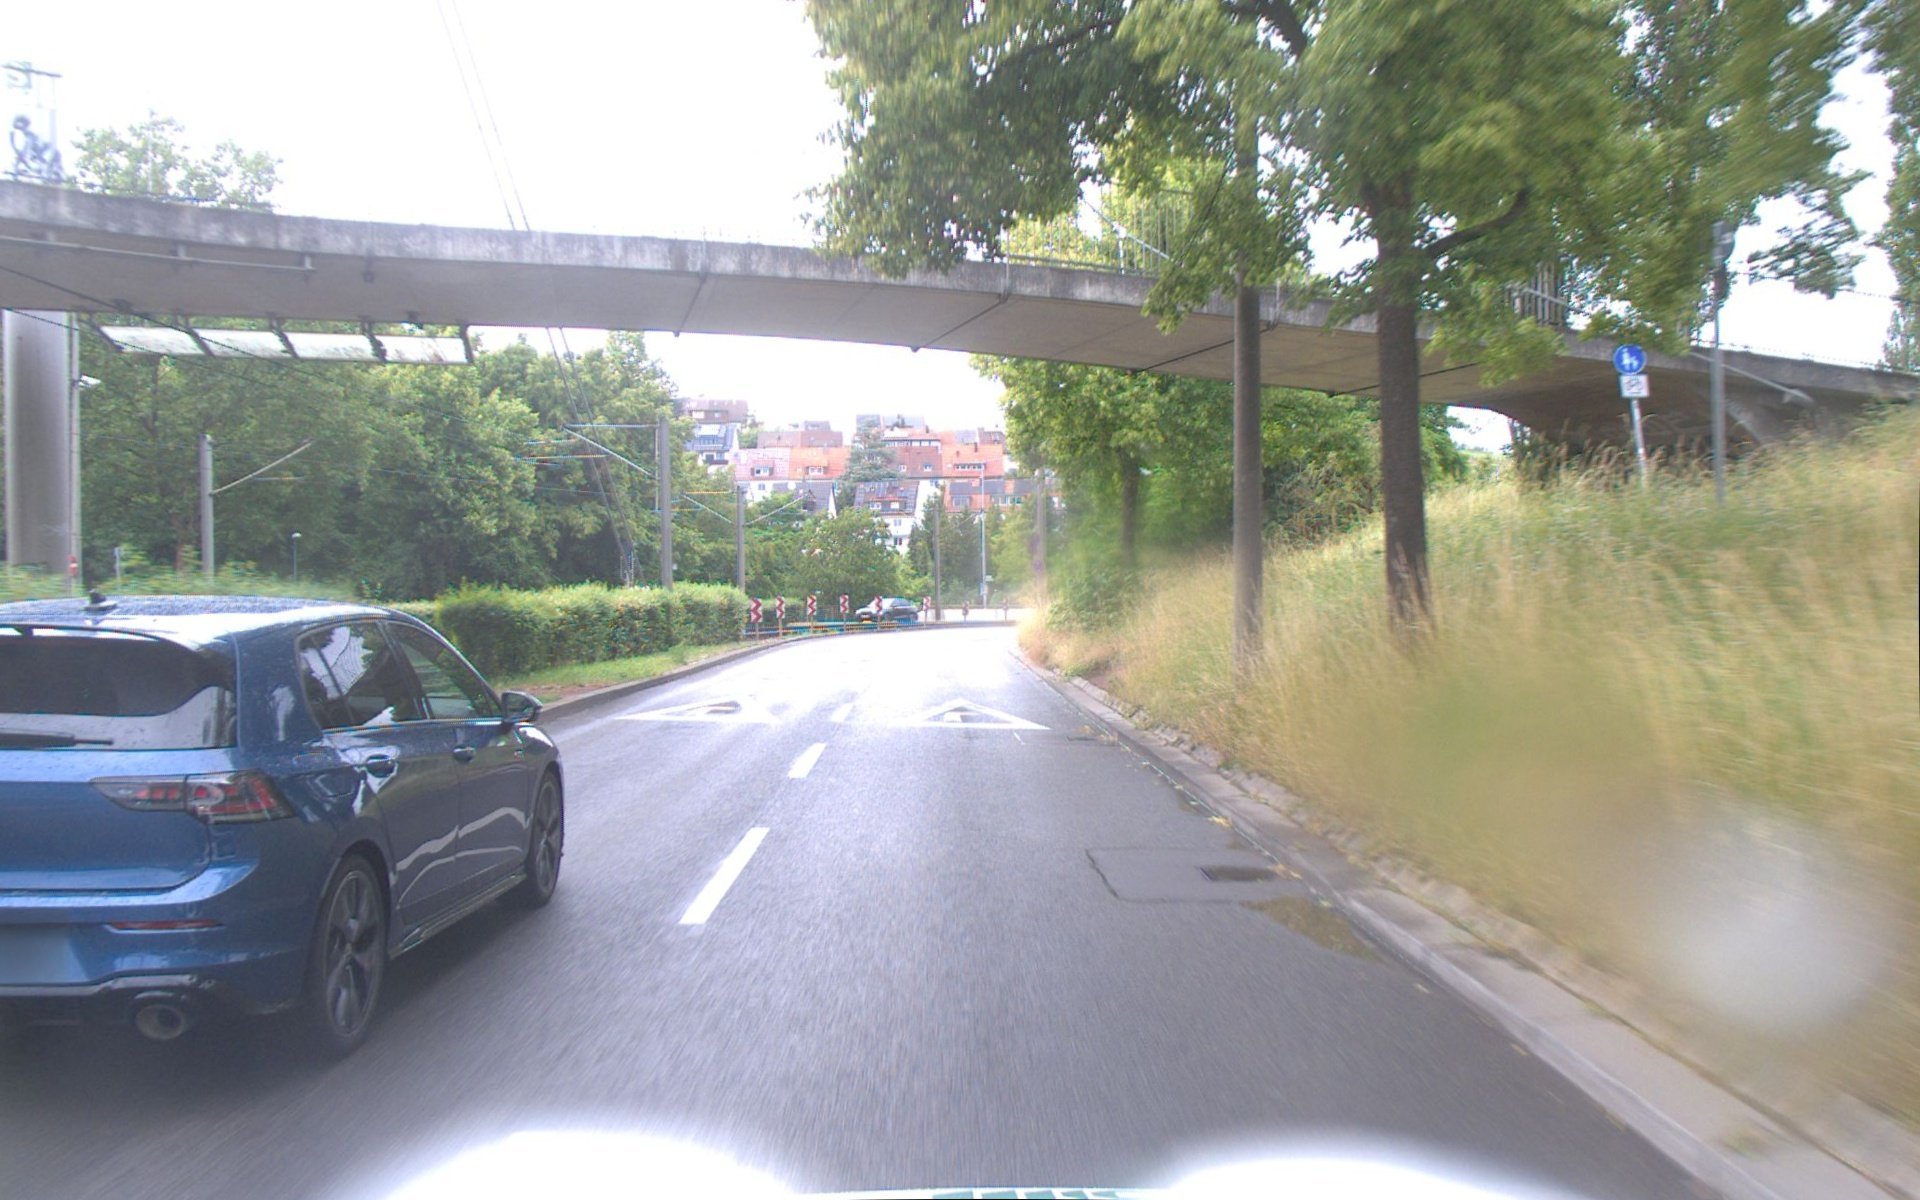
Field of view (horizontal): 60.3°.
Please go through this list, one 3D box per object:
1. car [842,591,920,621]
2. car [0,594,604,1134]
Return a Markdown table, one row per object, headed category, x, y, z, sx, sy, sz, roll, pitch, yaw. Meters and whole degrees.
| category | x | y | z | sx | sy | sz | roll | pitch | yaw |
| --- | --- | --- | --- | --- | --- | --- | --- | --- | --- |
| car | -4.233 | 0.299 | 88.777 | 1.963 | 1.433 | 3.979 | -2 | 1 | 40 |
| car | -2.756 | 0.689 | 6.518 | 1.771 | 1.402 | 4.346 | 1 | 0 | 0 |
